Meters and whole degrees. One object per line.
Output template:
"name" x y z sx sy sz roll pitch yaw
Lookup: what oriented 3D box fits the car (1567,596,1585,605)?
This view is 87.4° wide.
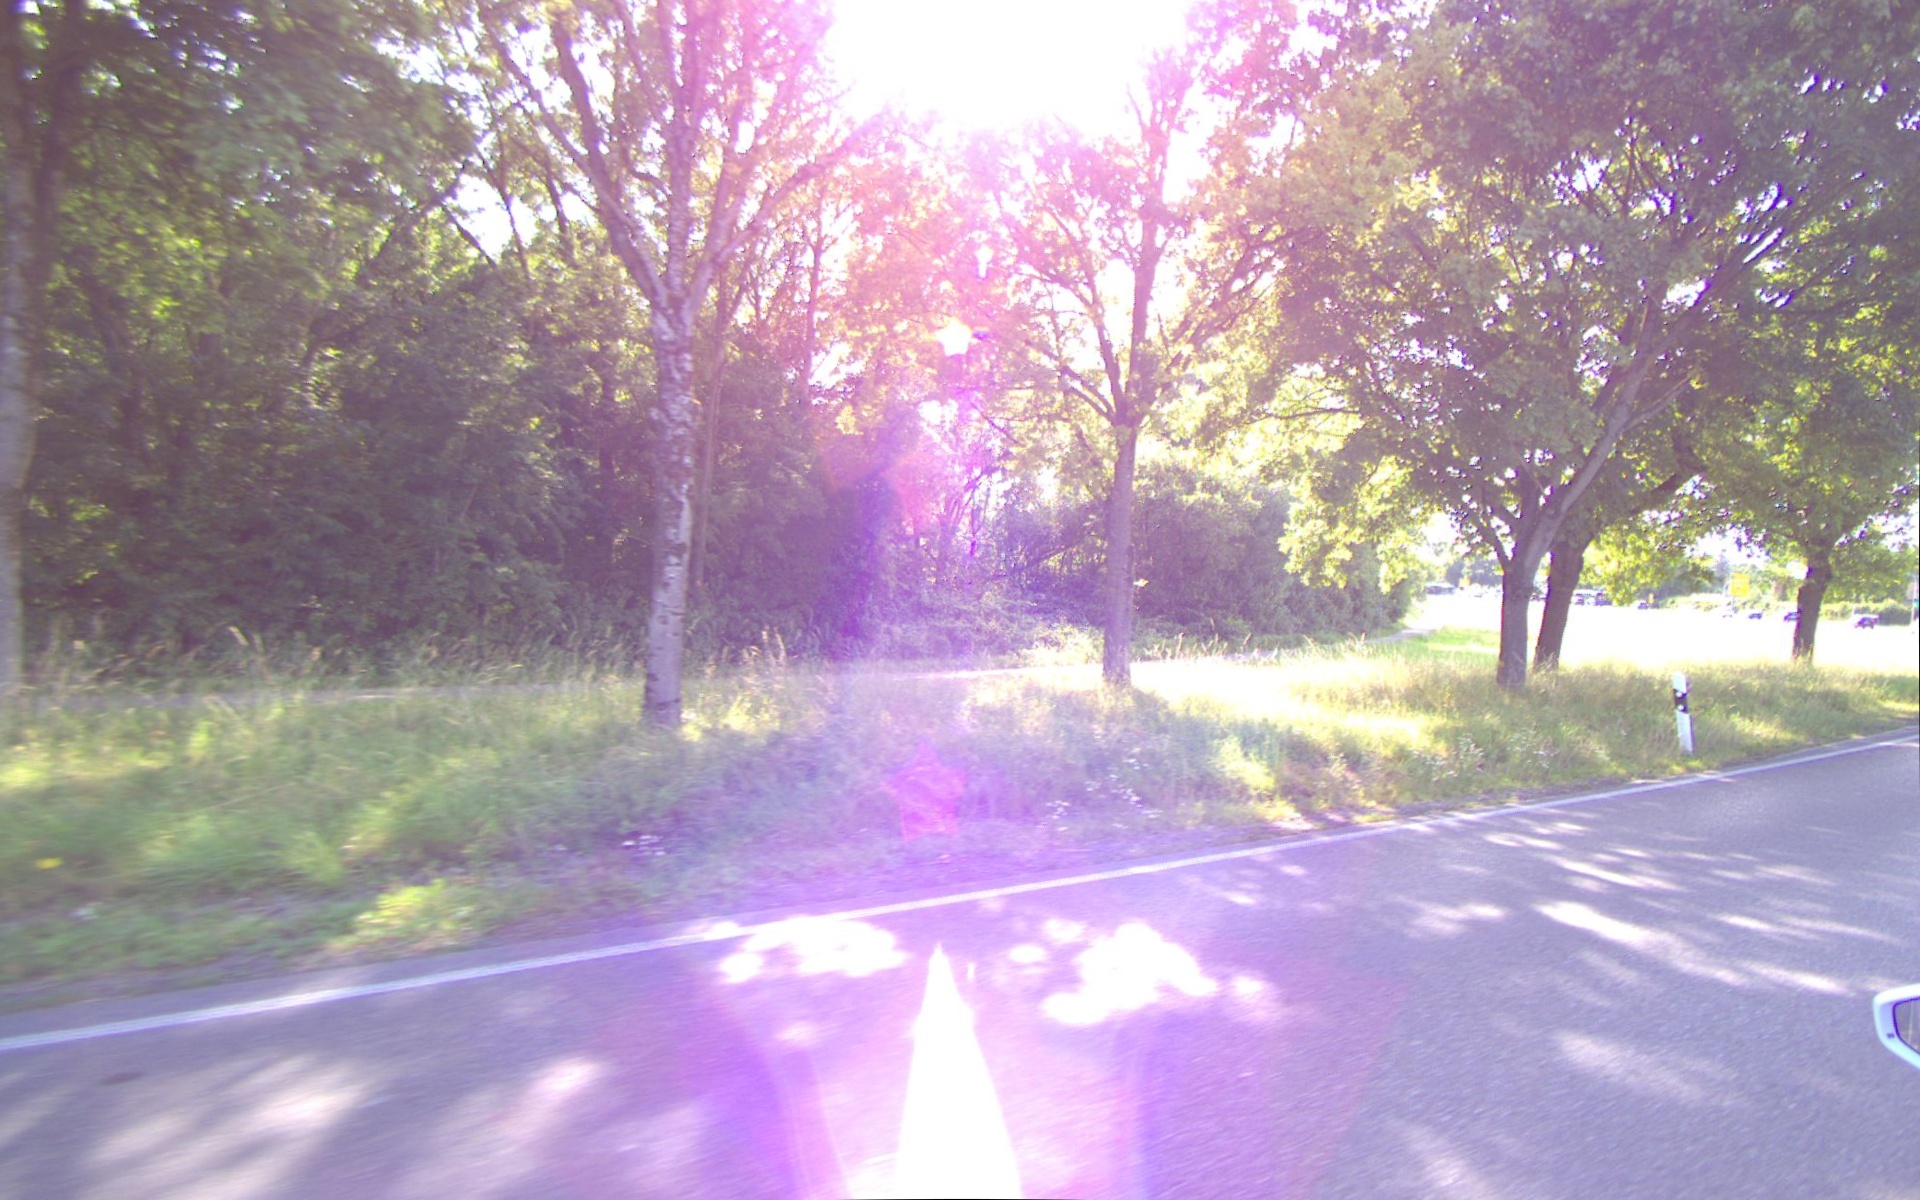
"car" 128.762 0.097 210.008 2.049 1.621 4.002 2 1 13

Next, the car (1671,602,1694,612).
"car" 120.756 1.152 167.985 1.943 1.678 3.874 2 0 17

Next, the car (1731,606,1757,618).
"car" 113.800 1.720 145.888 1.650 1.579 3.874 2 0 17

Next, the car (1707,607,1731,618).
"car" 117.421 1.986 155.383 1.650 1.579 3.874 2 0 17

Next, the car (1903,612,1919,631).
"car" 90.175 2.026 94.108 1.815 1.678 3.991 2 0 31

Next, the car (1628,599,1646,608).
"car" 125.234 0.667 185.915 1.698 1.678 3.873 2 0 18

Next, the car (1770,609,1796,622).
"car" 109.993 2.017 134.264 1.495 1.678 3.871 2 0 22

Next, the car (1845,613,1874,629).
"car" 101.611 2.396 113.461 1.496 1.678 3.867 2 0 27
